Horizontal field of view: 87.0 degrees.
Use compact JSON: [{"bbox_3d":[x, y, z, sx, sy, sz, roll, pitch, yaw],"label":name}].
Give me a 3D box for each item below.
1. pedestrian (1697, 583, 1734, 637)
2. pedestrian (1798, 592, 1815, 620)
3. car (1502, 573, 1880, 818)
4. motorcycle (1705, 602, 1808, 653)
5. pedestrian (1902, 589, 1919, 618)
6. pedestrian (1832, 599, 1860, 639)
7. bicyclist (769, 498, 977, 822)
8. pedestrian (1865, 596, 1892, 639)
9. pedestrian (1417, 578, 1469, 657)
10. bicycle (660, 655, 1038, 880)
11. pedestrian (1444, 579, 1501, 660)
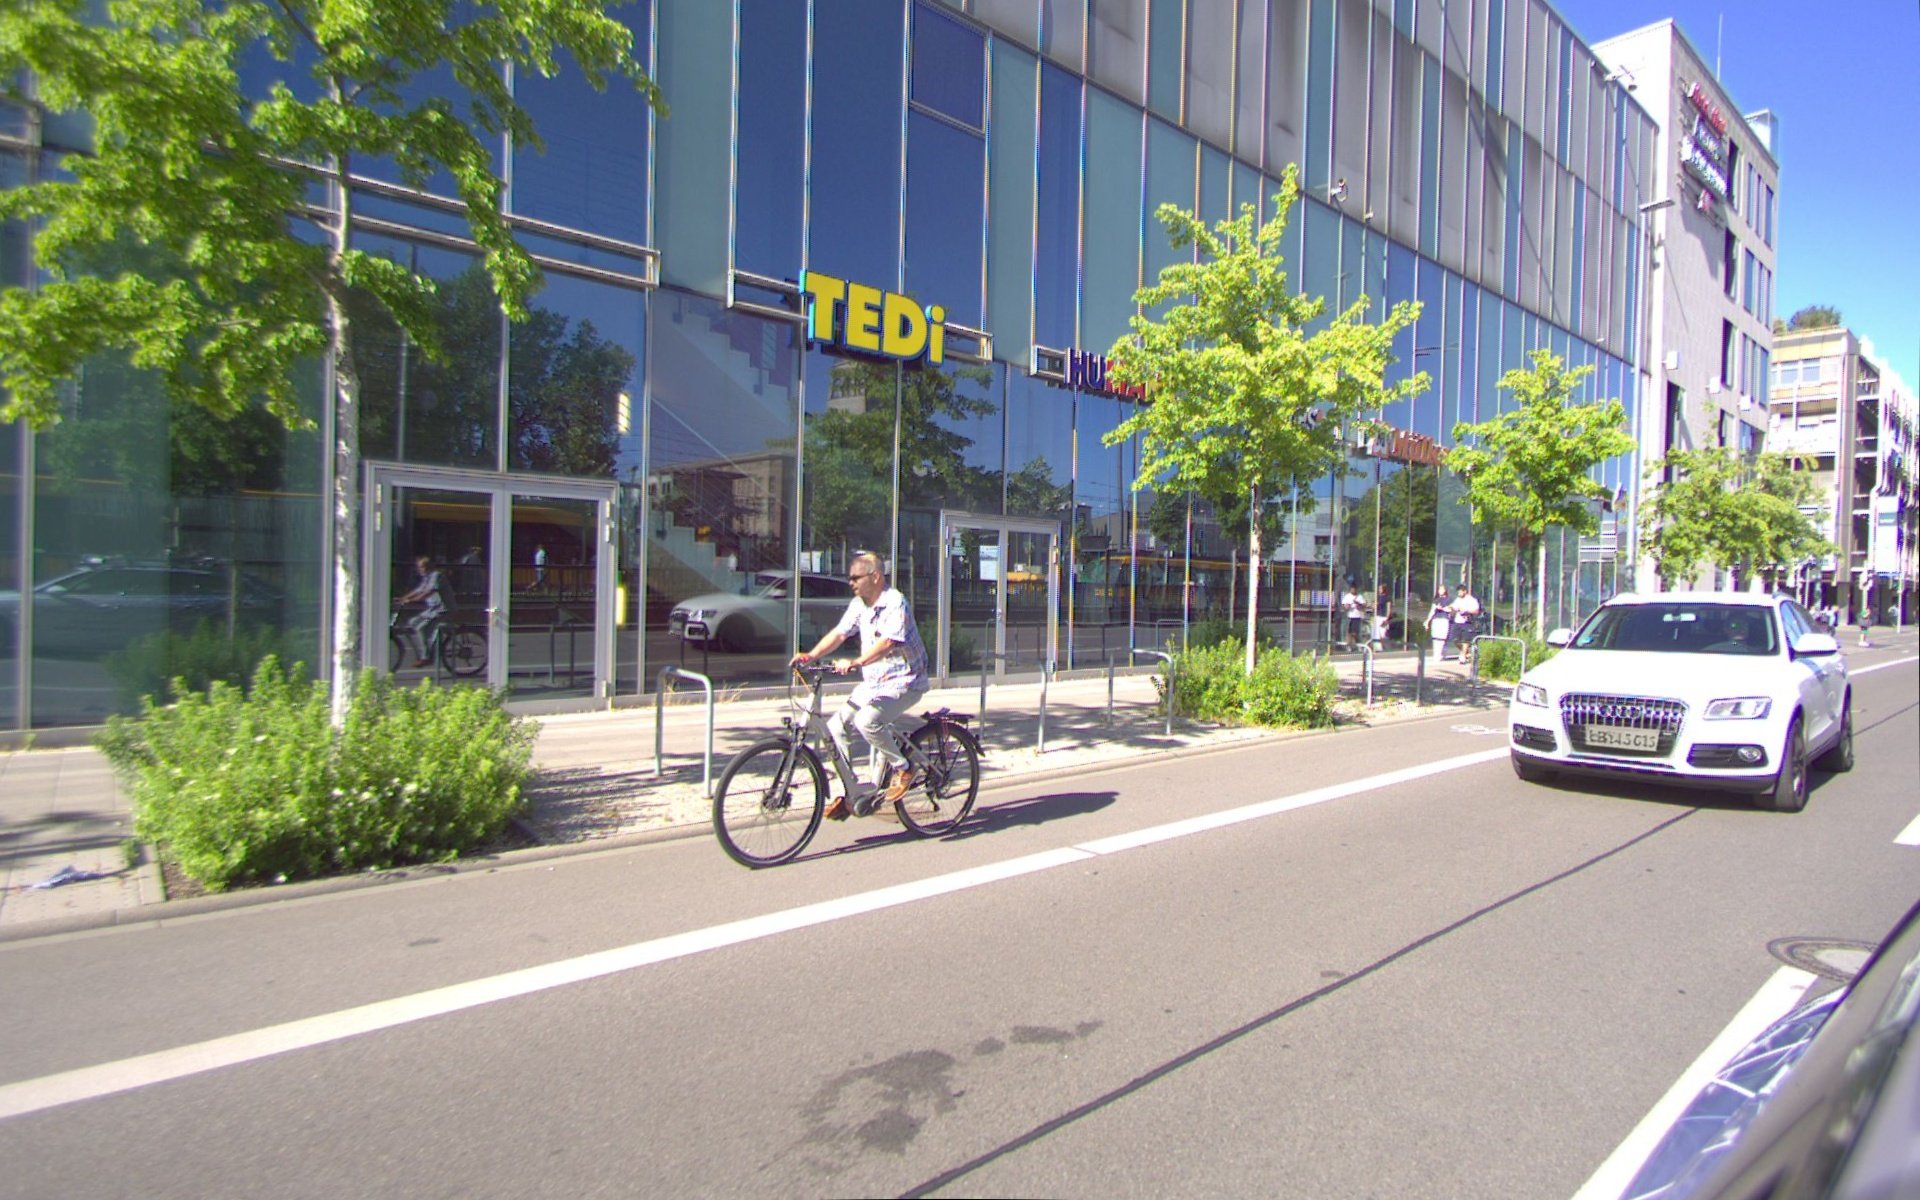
[{"bbox_3d":[26.178,0.346,35.077,1.047,1.823,0.729,1,3,-40],"label":"pedestrian"},{"bbox_3d":[49.446,0.351,59.108,0.659,1.632,0.519,4,3,42],"label":"pedestrian"},{"bbox_3d":[6.556,0.626,8.872,4.336,1.634,1.822,0,0,-42],"label":"car"},{"bbox_3d":[23.332,0.784,29.687,0.886,1.340,2.196,1,2,-36],"label":"motorcycle"},{"bbox_3d":[67.893,0.265,72.128,0.945,2.039,1.064,2,1,39],"label":"pedestrian"},{"bbox_3d":[36.478,0.784,41.648,0.736,1.628,0.725,2,0,-39],"label":"pedestrian"},{"bbox_3d":[-0.516,0.315,6.085,0.981,1.758,0.725,0,1,-44],"label":"bicyclist"},{"bbox_3d":[37.917,0.720,41.770,0.686,1.723,0.658,1,3,-42],"label":"pedestrian"},{"bbox_3d":[10.782,0.374,22.592,0.885,1.678,0.707,1,3,-44],"label":"pedestrian"},{"bbox_3d":[-0.566,0.883,6.056,2.294,0.996,0.729,0,-1,-44],"label":"bicycle"},{"bbox_3d":[10.972,0.400,21.665,0.885,1.679,0.821,1,1,-44],"label":"pedestrian"}]
